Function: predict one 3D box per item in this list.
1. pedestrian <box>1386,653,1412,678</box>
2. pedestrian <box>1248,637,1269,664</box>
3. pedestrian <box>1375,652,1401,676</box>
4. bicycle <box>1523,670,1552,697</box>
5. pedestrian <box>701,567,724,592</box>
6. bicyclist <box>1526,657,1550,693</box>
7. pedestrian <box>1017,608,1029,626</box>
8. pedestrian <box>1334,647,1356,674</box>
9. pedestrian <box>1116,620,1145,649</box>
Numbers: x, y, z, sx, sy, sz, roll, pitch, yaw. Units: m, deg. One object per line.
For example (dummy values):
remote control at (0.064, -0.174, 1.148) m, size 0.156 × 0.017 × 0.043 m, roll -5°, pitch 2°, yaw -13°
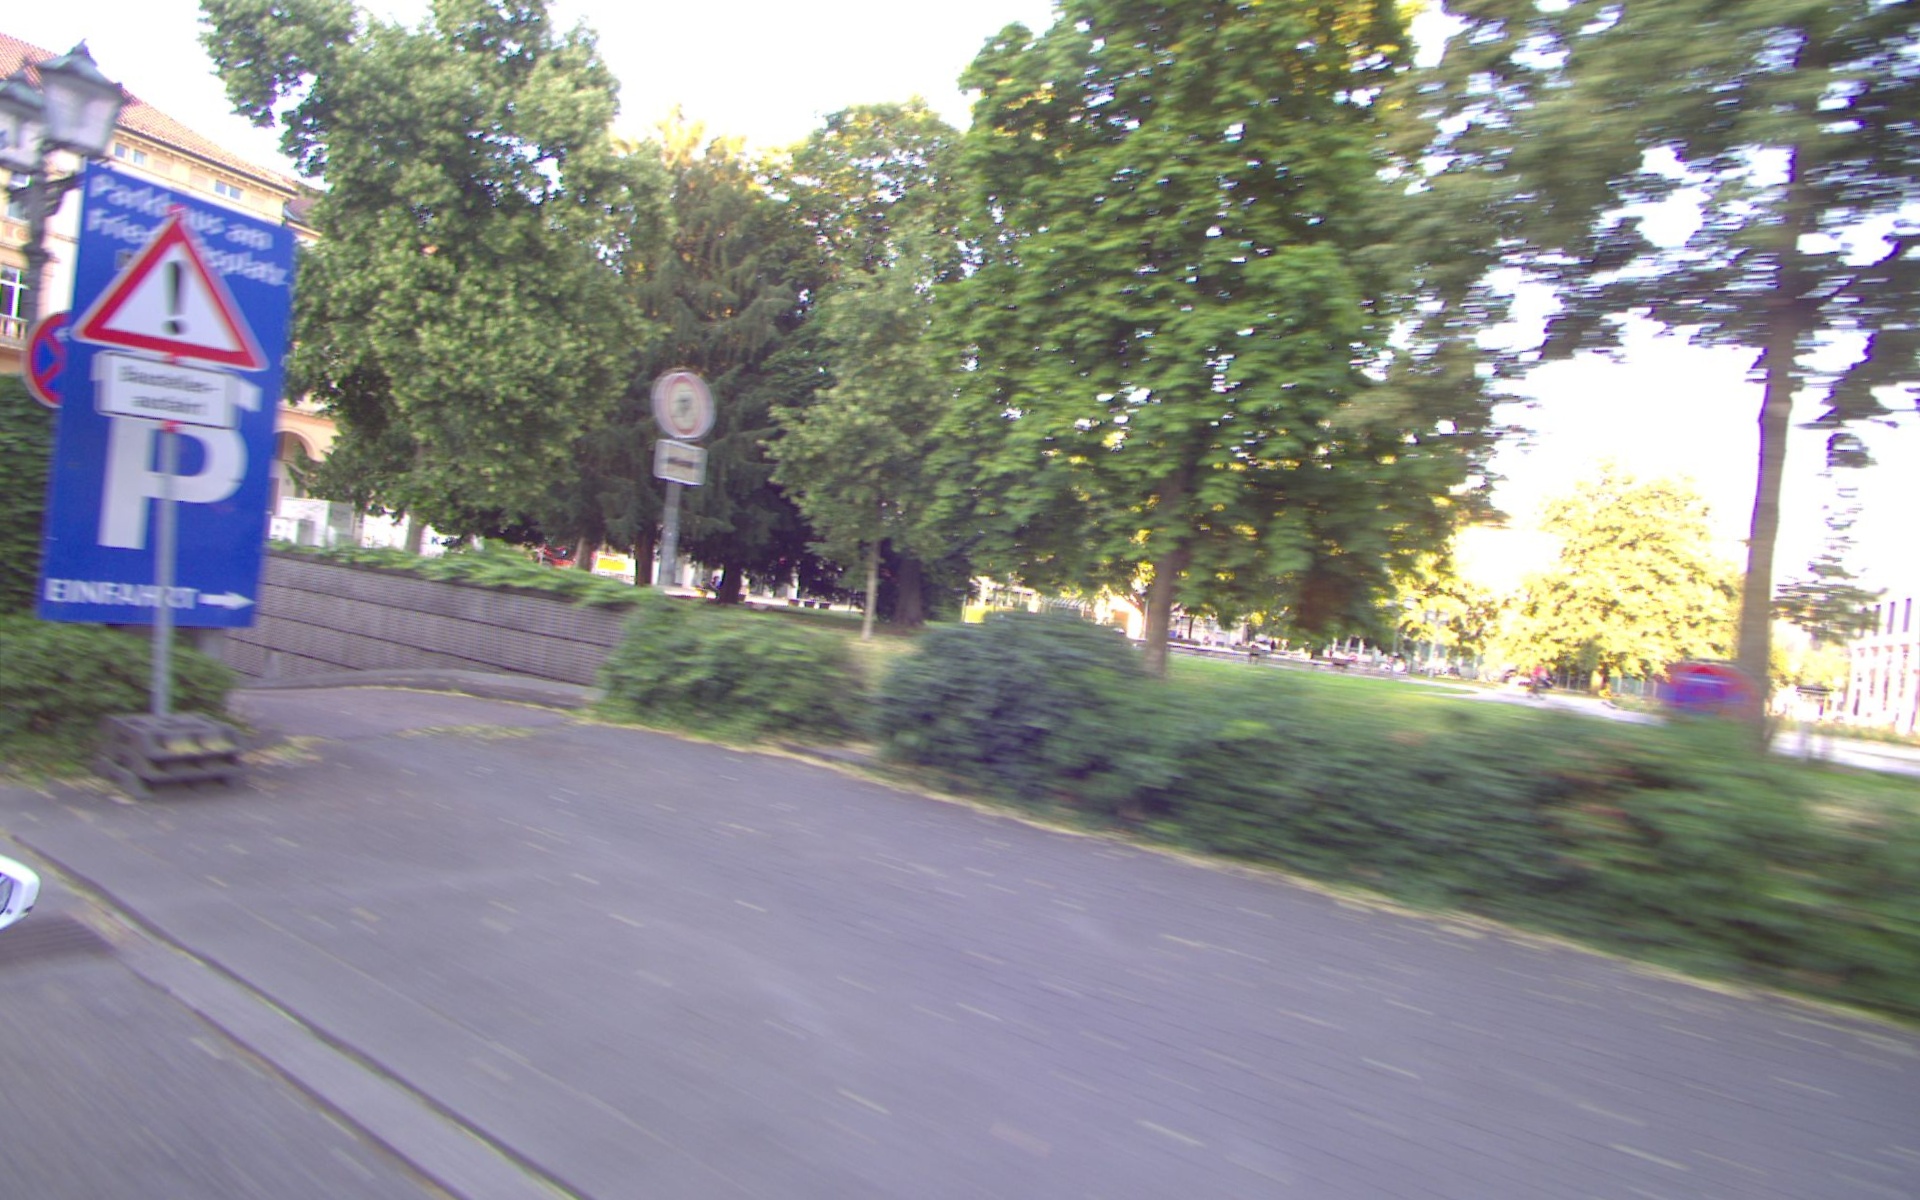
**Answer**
pedestrian at (28.414, 4.238, 65.105) m, size 1.134 × 1.387 × 0.831 m, roll 7°, pitch 1°, yaw -22°
pedestrian at (14.624, 2.477, 49.258) m, size 0.653 × 1.215 × 1.103 m, roll 7°, pitch 1°, yaw 30°
pedestrian at (28.058, 4.188, 65.985) m, size 1.134 × 1.387 × 0.831 m, roll 7°, pitch 1°, yaw -22°
bicycle at (28.236, 4.072, 49.210) m, size 0.554 × 1.191 × 1.775 m, roll 6°, pitch 0°, yaw 11°
pedestrian at (-13.521, -1.121, 54.939) m, size 0.911 × 1.267 × 0.708 m, roll 6°, pitch 1°, yaw 27°
bicyclist at (28.279, 3.659, 49.234) m, size 0.646 × 1.653 × 0.677 m, roll 6°, pitch 1°, yaw 11°
pedestrian at (4.924, 1.336, 78.961) m, size 0.640 × 1.384 × 1.031 m, roll 6°, pitch 0°, yaw -8°
pedestrian at (18.750, 2.933, 49.047) m, size 0.724 × 1.215 × 1.103 m, roll 7°, pitch 1°, yaw 30°
pedestrian at (8.929, 1.813, 52.670) m, size 1.060 × 1.308 × 0.834 m, roll 7°, pitch 1°, yaw -40°
